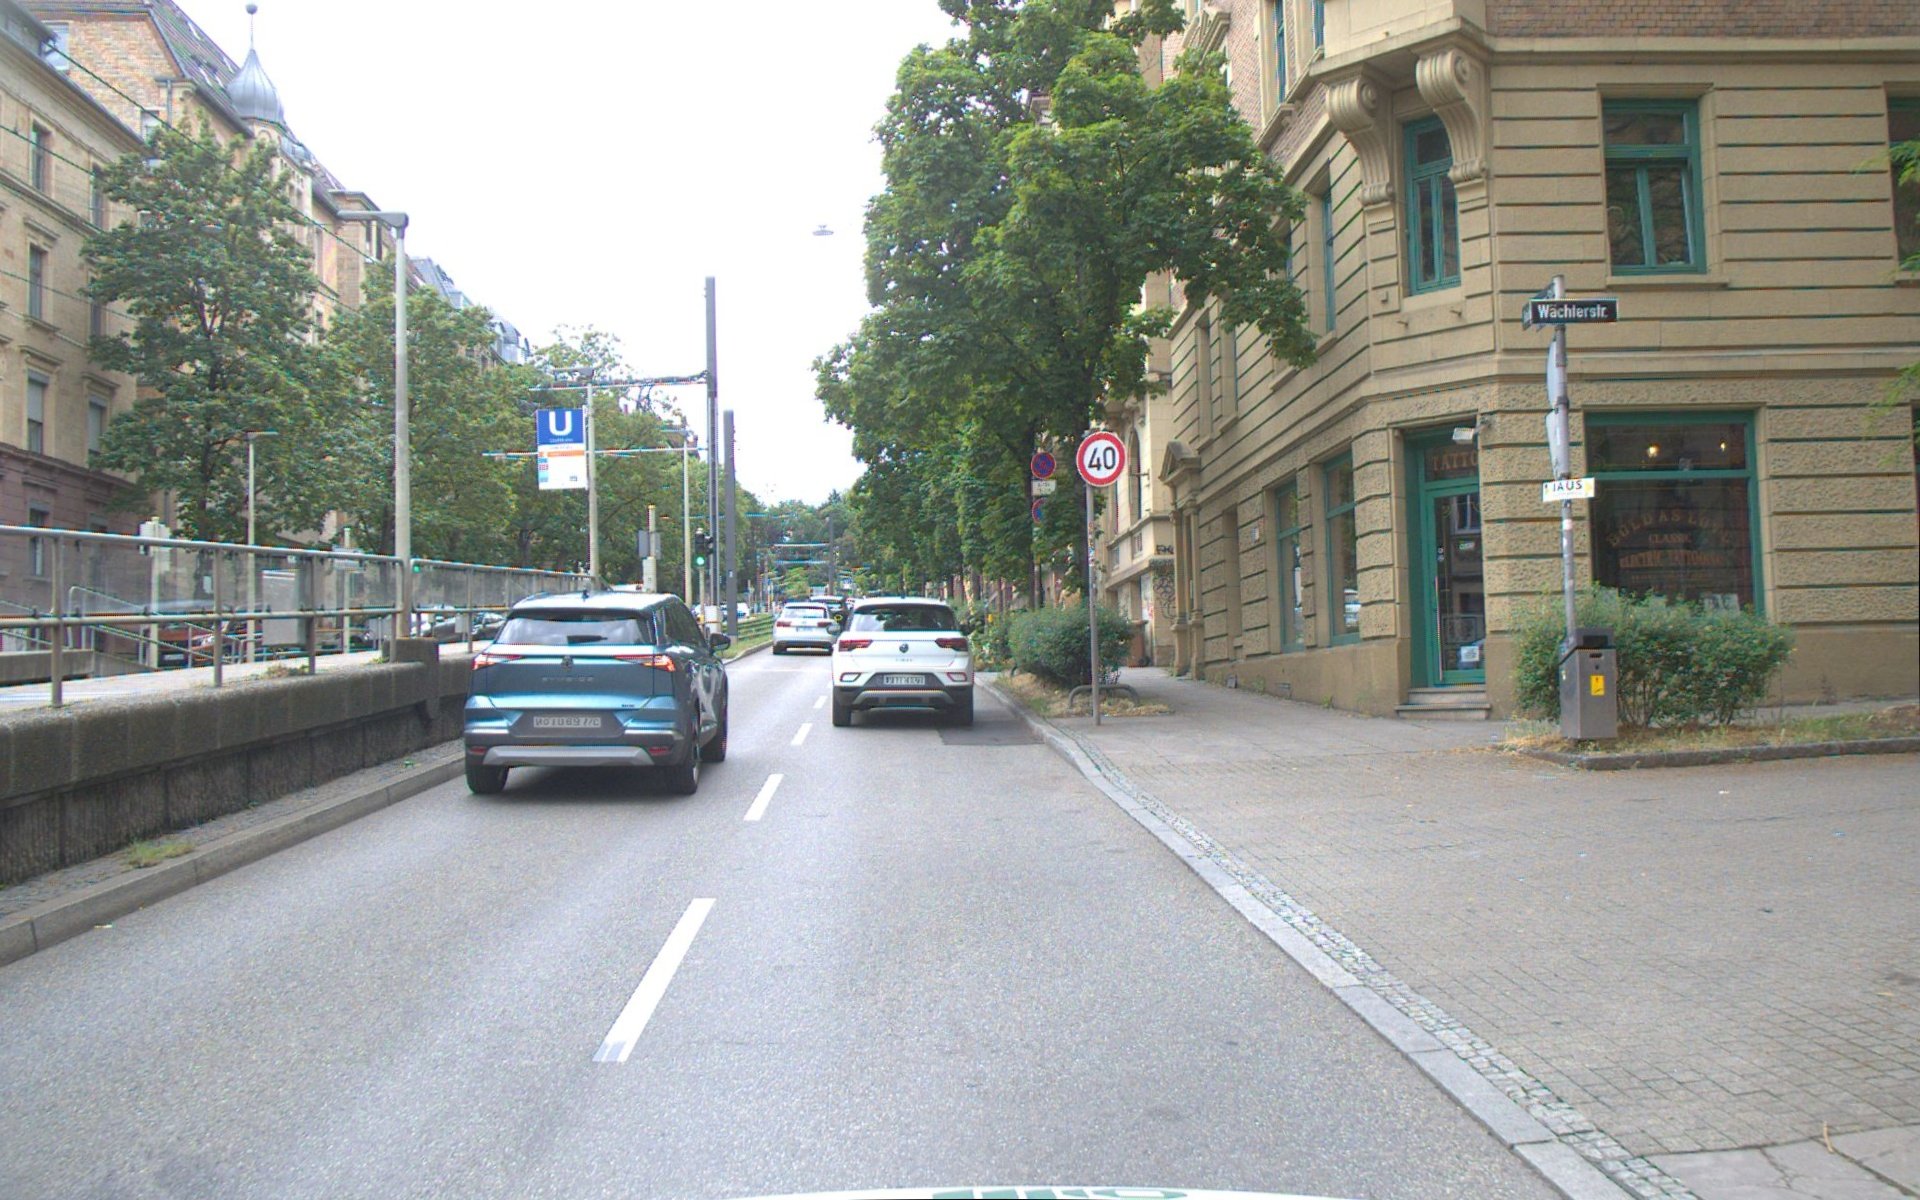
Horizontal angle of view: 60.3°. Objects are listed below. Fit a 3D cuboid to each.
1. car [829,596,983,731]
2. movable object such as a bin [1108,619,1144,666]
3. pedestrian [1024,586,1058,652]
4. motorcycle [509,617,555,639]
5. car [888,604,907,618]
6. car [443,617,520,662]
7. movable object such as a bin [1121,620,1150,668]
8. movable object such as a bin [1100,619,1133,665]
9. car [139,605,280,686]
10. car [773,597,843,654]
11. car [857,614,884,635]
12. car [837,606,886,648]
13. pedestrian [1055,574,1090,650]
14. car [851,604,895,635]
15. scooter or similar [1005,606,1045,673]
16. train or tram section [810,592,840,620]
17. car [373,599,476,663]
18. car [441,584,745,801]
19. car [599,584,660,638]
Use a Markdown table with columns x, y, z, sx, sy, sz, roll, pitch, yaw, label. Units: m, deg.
| x | y | z | sx | sy | sz | roll | pitch | yaw | label |
| --- | --- | --- | --- | --- | --- | --- | --- | --- | --- |
| -0.760 | 0.765 | 21.544 | 1.799 | 1.574 | 4.190 | 1 | -1 | -4 | car |
| 3.434 | 0.884 | 34.196 | 0.498 | 0.935 | 0.485 | -2 | -1 | -44 | movable object such as a bin |
| 2.046 | 0.471 | 41.895 | 0.672 | 1.601 | 1.216 | -3 | 0 | -3 | pedestrian |
| -21.496 | 1.399 | 83.156 | 2.182 | 1.077 | 0.617 | 1 | -2 | -38 | motorcycle |
| -7.491 | 1.298 | 197.453 | 2.028 | 1.574 | 4.187 | 1 | -1 | -6 | car |
| -17.308 | 1.404 | 59.983 | 1.644 | 1.473 | 4.216 | -2 | 0 | -2 | car |
| 3.566 | 0.890 | 33.548 | 0.489 | 0.935 | 0.444 | -1 | 0 | 17 | movable object such as a bin |
| 3.285 | 0.883 | 34.779 | 0.599 | 0.935 | 0.493 | -3 | -1 | 0 | movable object such as a bin |
| -18.837 | 1.106 | 41.703 | 1.812 | 1.892 | 4.135 | -1 | 0 | -3 | car |
| -4.347 | 0.732 | 47.866 | 1.799 | 1.574 | 4.191 | 1 | -1 | -2 | car |
| -7.031 | 1.879 | 129.285 | 2.027 | 1.574 | 4.190 | 1 | -1 | -4 | car |
| -3.803 | 1.051 | 64.458 | 1.799 | 1.574 | 4.191 | 1 | -1 | -2 | car |
| 2.848 | 0.309 | 41.960 | 0.672 | 1.861 | 1.121 | -3 | -1 | -3 | pedestrian |
| -4.556 | 1.000 | 85.862 | 2.029 | 1.574 | 4.187 | 1 | -1 | -7 | car |
| 1.354 | 0.815 | 34.593 | 0.649 | 1.327 | 1.383 | -3 | -1 | -3 | scooter or similar |
| -17.056 | 0.761 | 209.544 | 2.935 | 3.407 | 13.433 | -1 | -1 | -2 | train or tram section |
| -15.712 | 0.877 | 48.746 | 1.675 | 1.766 | 4.574 | -1 | 0 | -2 | car |
| -2.938 | 0.697 | 14.144 | 1.799 | 1.574 | 4.191 | 1 | -1 | -2 | car |
| -18.129 | 0.582 | 91.071 | 2.345 | 2.746 | 6.513 | -3 | 0 | -4 | car |
